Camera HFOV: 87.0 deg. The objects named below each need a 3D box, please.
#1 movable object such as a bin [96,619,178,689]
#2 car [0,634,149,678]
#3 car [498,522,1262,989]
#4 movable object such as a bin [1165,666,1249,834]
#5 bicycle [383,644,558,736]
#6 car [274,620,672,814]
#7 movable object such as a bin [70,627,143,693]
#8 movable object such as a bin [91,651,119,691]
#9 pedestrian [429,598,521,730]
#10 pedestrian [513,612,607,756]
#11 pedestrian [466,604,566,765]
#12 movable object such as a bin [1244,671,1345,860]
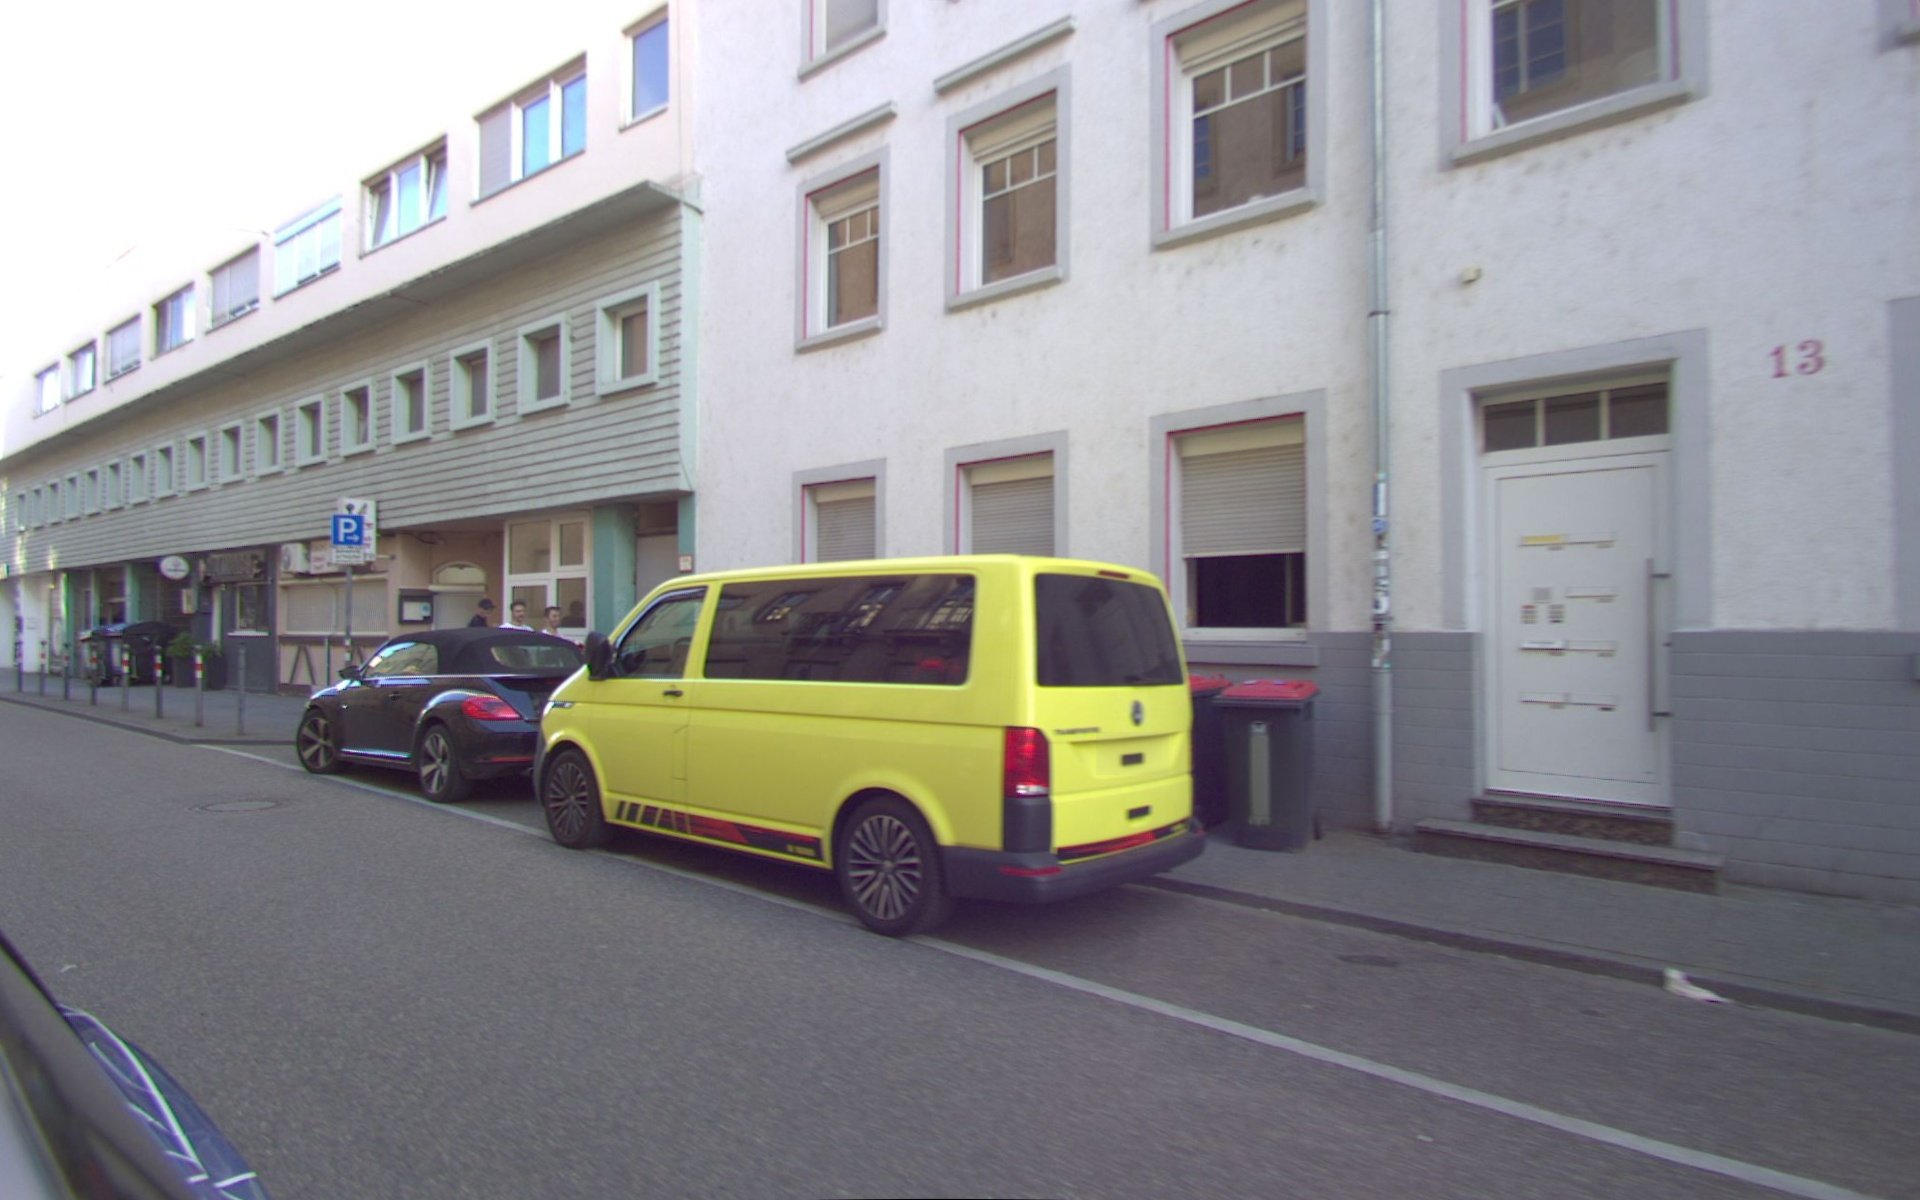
[{"bbox_3d":[-18.538,1.210,22.803,1.339,1.532,1.112,-3,-3,36],"label":"movable object such as a bin"},{"bbox_3d":[-32.963,2.056,37.771,1.688,1.531,3.899,-1,-2,34],"label":"car"},{"bbox_3d":[-0.798,0.725,6.389,4.859,1.881,1.861,-1,-5,40],"label":"car"},{"bbox_3d":[1.742,1.030,7.136,0.433,1.113,0.405,-2,-3,42],"label":"movable object such as a bin"},{"bbox_3d":[-6.736,1.202,13.967,2.099,1.172,0.826,1,-2,-30],"label":"bicycle"},{"bbox_3d":[-4.828,0.997,9.834,4.070,1.497,1.801,-1,-5,38],"label":"car"},{"bbox_3d":[-19.864,1.384,23.550,1.471,1.483,0.960,-3,-3,36],"label":"movable object such as a bin"},{"bbox_3d":[-20.564,1.696,24.339,0.466,0.949,0.389,-2,-3,36],"label":"movable object such as a bin"},{"bbox_3d":[-6.708,0.858,13.994,1.063,1.742,0.804,1,-2,-30],"label":"pedestrian"},{"bbox_3d":[-4.874,0.999,12.340,0.893,1.682,0.666,-1,-3,38],"label":"pedestrian"},{"bbox_3d":[-5.088,0.945,11.596,0.828,1.748,0.691,-1,-4,38],"label":"pedestrian"},{"bbox_3d":[2.134,1.021,6.447,0.433,1.113,0.534,-2,-3,42],"label":"movable object such as a bin"}]
